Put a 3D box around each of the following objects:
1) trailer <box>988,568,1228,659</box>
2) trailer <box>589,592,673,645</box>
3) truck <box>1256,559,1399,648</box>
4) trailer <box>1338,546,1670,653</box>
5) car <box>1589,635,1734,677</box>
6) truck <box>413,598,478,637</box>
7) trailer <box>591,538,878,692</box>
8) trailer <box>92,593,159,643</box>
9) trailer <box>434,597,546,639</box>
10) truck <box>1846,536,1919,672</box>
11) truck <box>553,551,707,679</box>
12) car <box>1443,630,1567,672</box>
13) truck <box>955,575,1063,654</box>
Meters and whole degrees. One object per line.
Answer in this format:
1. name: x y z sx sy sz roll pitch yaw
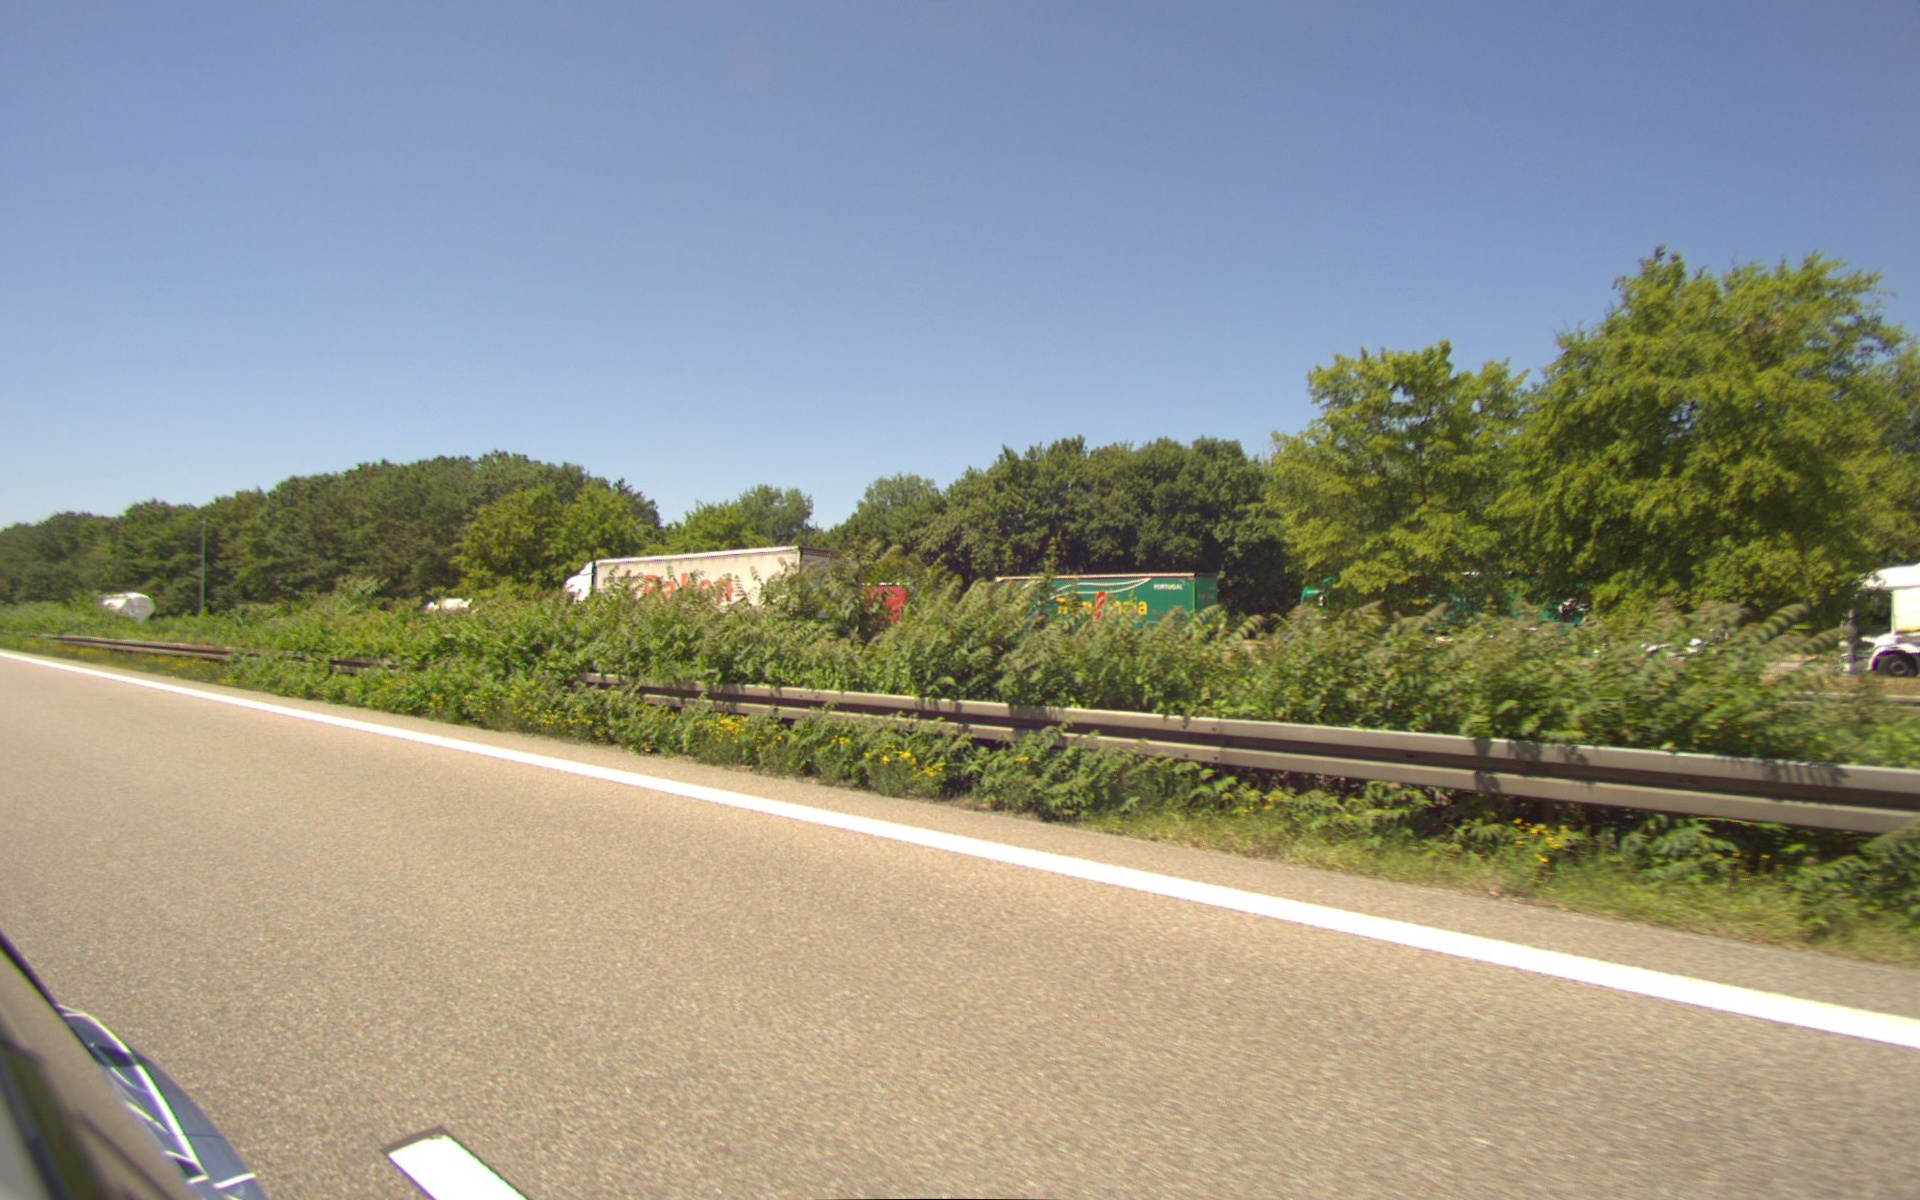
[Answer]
1. trailer: 8.031 0.813 57.668 14.021 4.627 3.562 -1 -2 42
2. trailer: -27.846 1.619 85.603 6.579 4.296 3.570 -1 -2 35
3. truck: 20.326 0.286 56.274 3.558 4.627 6.603 2 -2 -43
4. trailer: 26.204 0.145 49.983 3.558 4.627 14.036 2 -2 -43
5. car: 26.714 2.085 38.641 4.448 1.476 1.783 -1 -2 38
6. truck: -57.321 1.979 112.687 6.243 4.296 3.576 -1 -2 30
7. trailer: -7.784 0.465 33.262 11.482 4.304 2.873 -1 0 41
8. trailer: -75.477 1.671 91.424 10.833 4.296 2.852 -1 -2 41
9. trailer: -50.677 1.914 108.898 13.965 4.296 3.576 -1 -2 30
10. truck: 31.873 0.099 30.576 3.178 4.167 7.398 -1 0 -43
11. truck: -12.117 0.524 36.975 5.489 4.304 2.873 -1 0 40
12. car: 22.463 2.065 41.808 1.779 1.618 4.189 2 -2 -43
13. truck: 2.984 0.915 62.327 5.757 4.627 3.562 -1 -2 42
